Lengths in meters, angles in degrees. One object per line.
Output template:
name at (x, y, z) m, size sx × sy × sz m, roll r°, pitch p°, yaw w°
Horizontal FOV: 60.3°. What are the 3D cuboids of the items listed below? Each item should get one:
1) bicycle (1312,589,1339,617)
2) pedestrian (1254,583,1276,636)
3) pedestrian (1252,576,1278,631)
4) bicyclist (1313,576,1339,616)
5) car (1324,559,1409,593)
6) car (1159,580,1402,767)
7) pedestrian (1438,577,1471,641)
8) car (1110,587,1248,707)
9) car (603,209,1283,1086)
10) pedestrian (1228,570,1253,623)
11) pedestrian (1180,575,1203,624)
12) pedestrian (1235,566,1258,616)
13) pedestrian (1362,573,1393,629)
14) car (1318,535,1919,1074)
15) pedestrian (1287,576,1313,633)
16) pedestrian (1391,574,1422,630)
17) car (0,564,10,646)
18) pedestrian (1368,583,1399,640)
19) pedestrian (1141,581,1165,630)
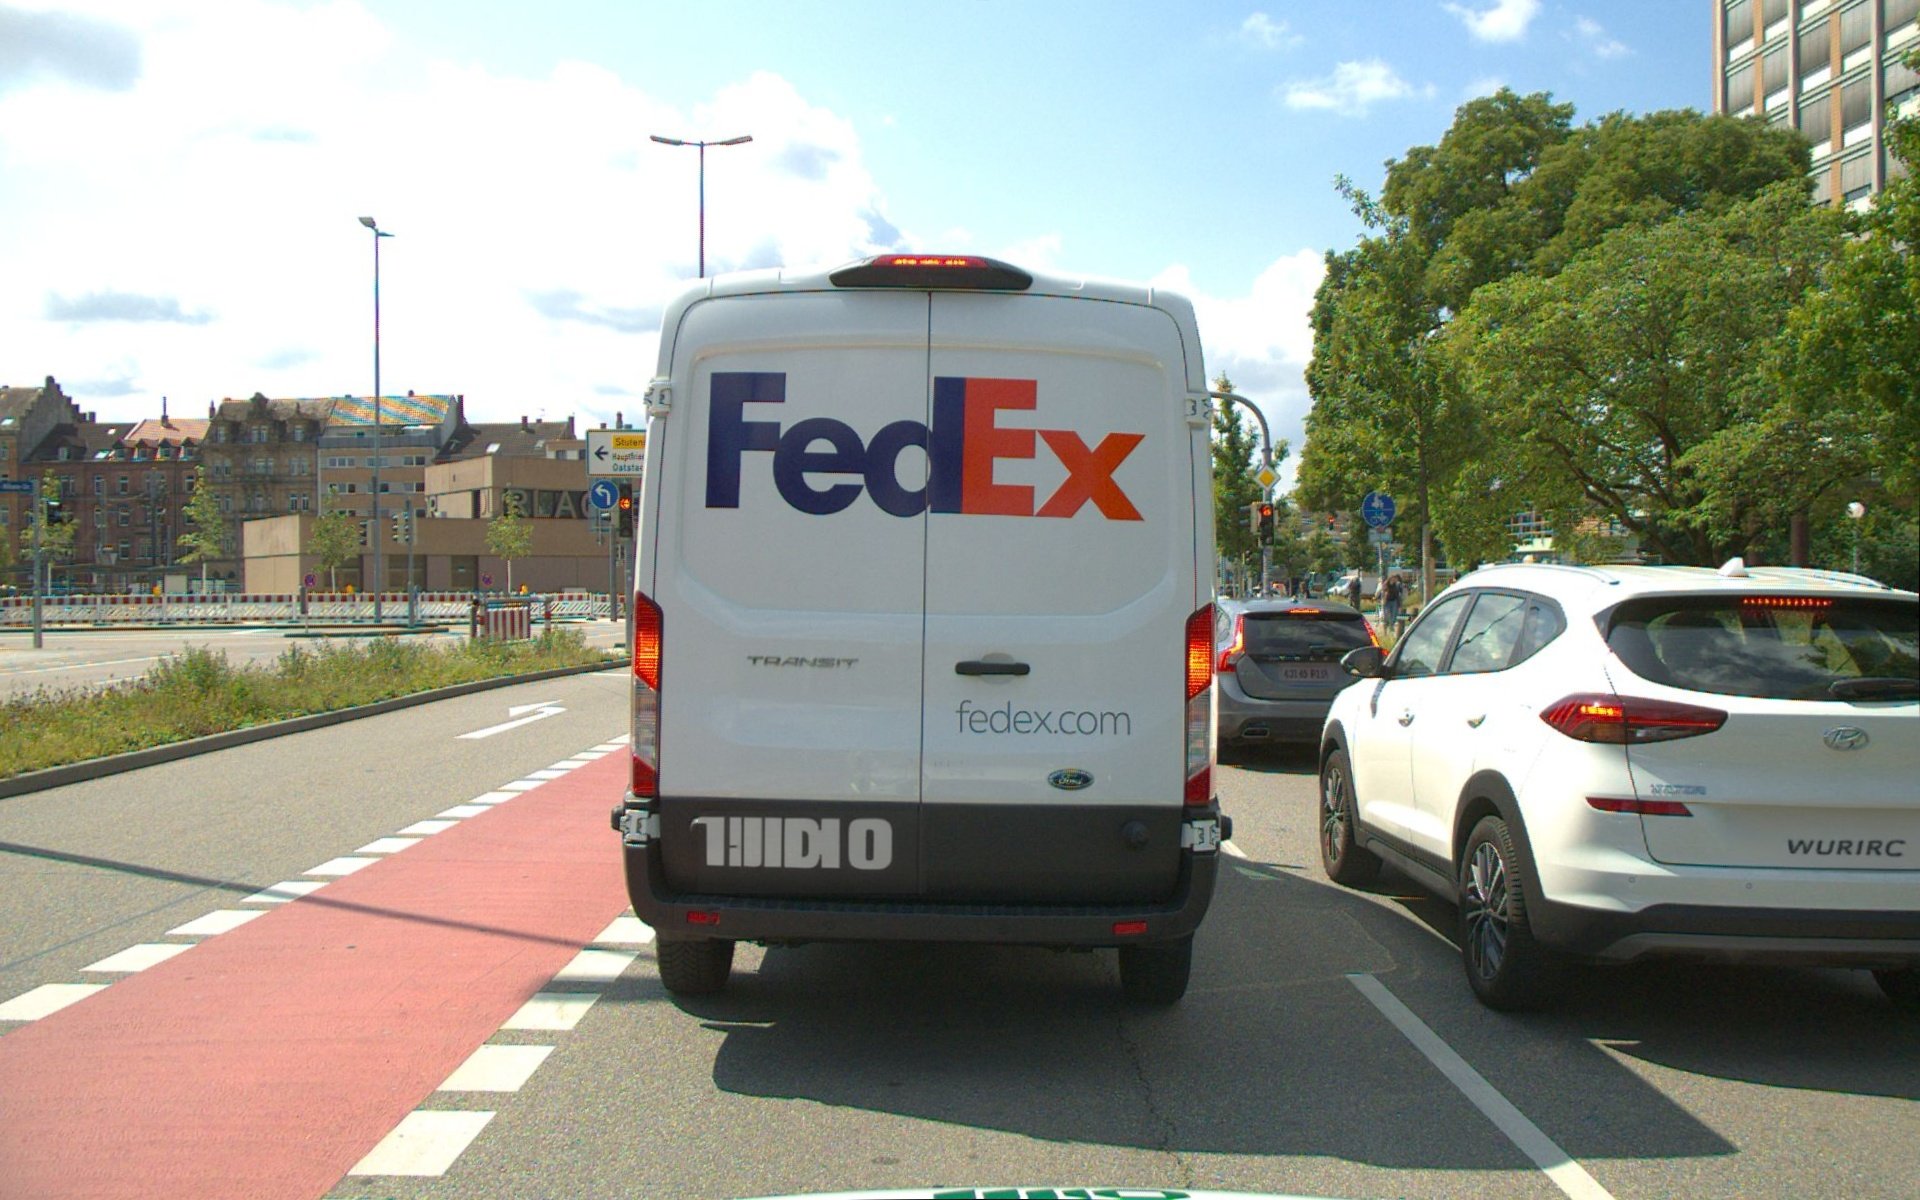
bicycle at (20.933, 0.164, 94.685) m, size 1.395 × 1.489 × 4.314 m, roll 0°, pitch 1°, yaw 14°
pedestrian at (10.923, 0.345, 59.204) m, size 0.742 × 1.882 × 0.817 m, roll 0°, pitch 0°, yaw 14°
pedestrian at (10.484, 0.128, 56.841) m, size 0.743 × 1.882 × 0.816 m, roll 0°, pitch 0°, yaw 18°
bicyclist at (20.919, -0.236, 94.624) m, size 1.402 × 2.209 × 1.340 m, roll 0°, pitch 0°, yaw 14°
car at (35.029, -2.022, 142.507) m, size 6.960 × 2.765 × 2.480 m, roll 1°, pitch 0°, yaw -21°
car at (2.938, 0.599, 15.872) m, size 1.656 × 1.576 × 3.721 m, roll 0°, pitch 1°, yaw 1°
pedestrian at (14.697, 0.259, 49.164) m, size 0.743 × 1.882 × 0.816 m, roll 0°, pitch 0°, yaw 2°
car at (2.925, 0.584, 22.644) m, size 1.468 × 1.489 × 3.474 m, roll 0°, pitch 1°, yaw 1°
car at (-0.023, 0.119, 7.188) m, size 2.030 × 2.626 × 4.428 m, roll 0°, pitch 1°, yaw 1°
pedestrian at (10.193, -0.135, 60.116) m, size 0.796 × 1.882 × 0.761 m, roll 0°, pitch 0°, yaw 2°
pedestrian at (8.850, -0.018, 63.283) m, size 0.744 × 1.882 × 0.816 m, roll 0°, pitch 0°, yaw -3°
pedestrian at (11.087, -0.351, 64.013) m, size 0.743 × 1.882 × 0.816 m, roll 0°, pitch 0°, yaw 3°
pedestrian at (14.140, 0.027, 55.973) m, size 0.745 × 1.882 × 0.814 m, roll -1°, pitch 0°, yaw -11°
car at (2.861, 0.624, 7.236) m, size 1.777 × 1.708 × 3.974 m, roll 0°, pitch 1°, yaw 1°
pedestrian at (11.411, 0.138, 55.512) m, size 0.743 × 1.882 × 0.816 m, roll 0°, pitch 0°, yaw 18°
pedestrian at (15.184, 0.047, 56.240) m, size 0.745 × 1.882 × 0.814 m, roll 0°, pitch 0°, yaw -9°
car at (-28.428, 0.159, 44.121) m, size 4.899 × 2.213 × 2.155 m, roll 0°, pitch 1°, yaw 0°
pedestrian at (12.690, 0.331, 49.573) m, size 0.743 × 1.684 × 0.816 m, roll 0°, pitch 0°, yaw 3°
pedestrian at (7.476, 0.205, 64.060) m, size 0.744 × 1.882 × 0.815 m, roll 0°, pitch 0°, yaw -5°
